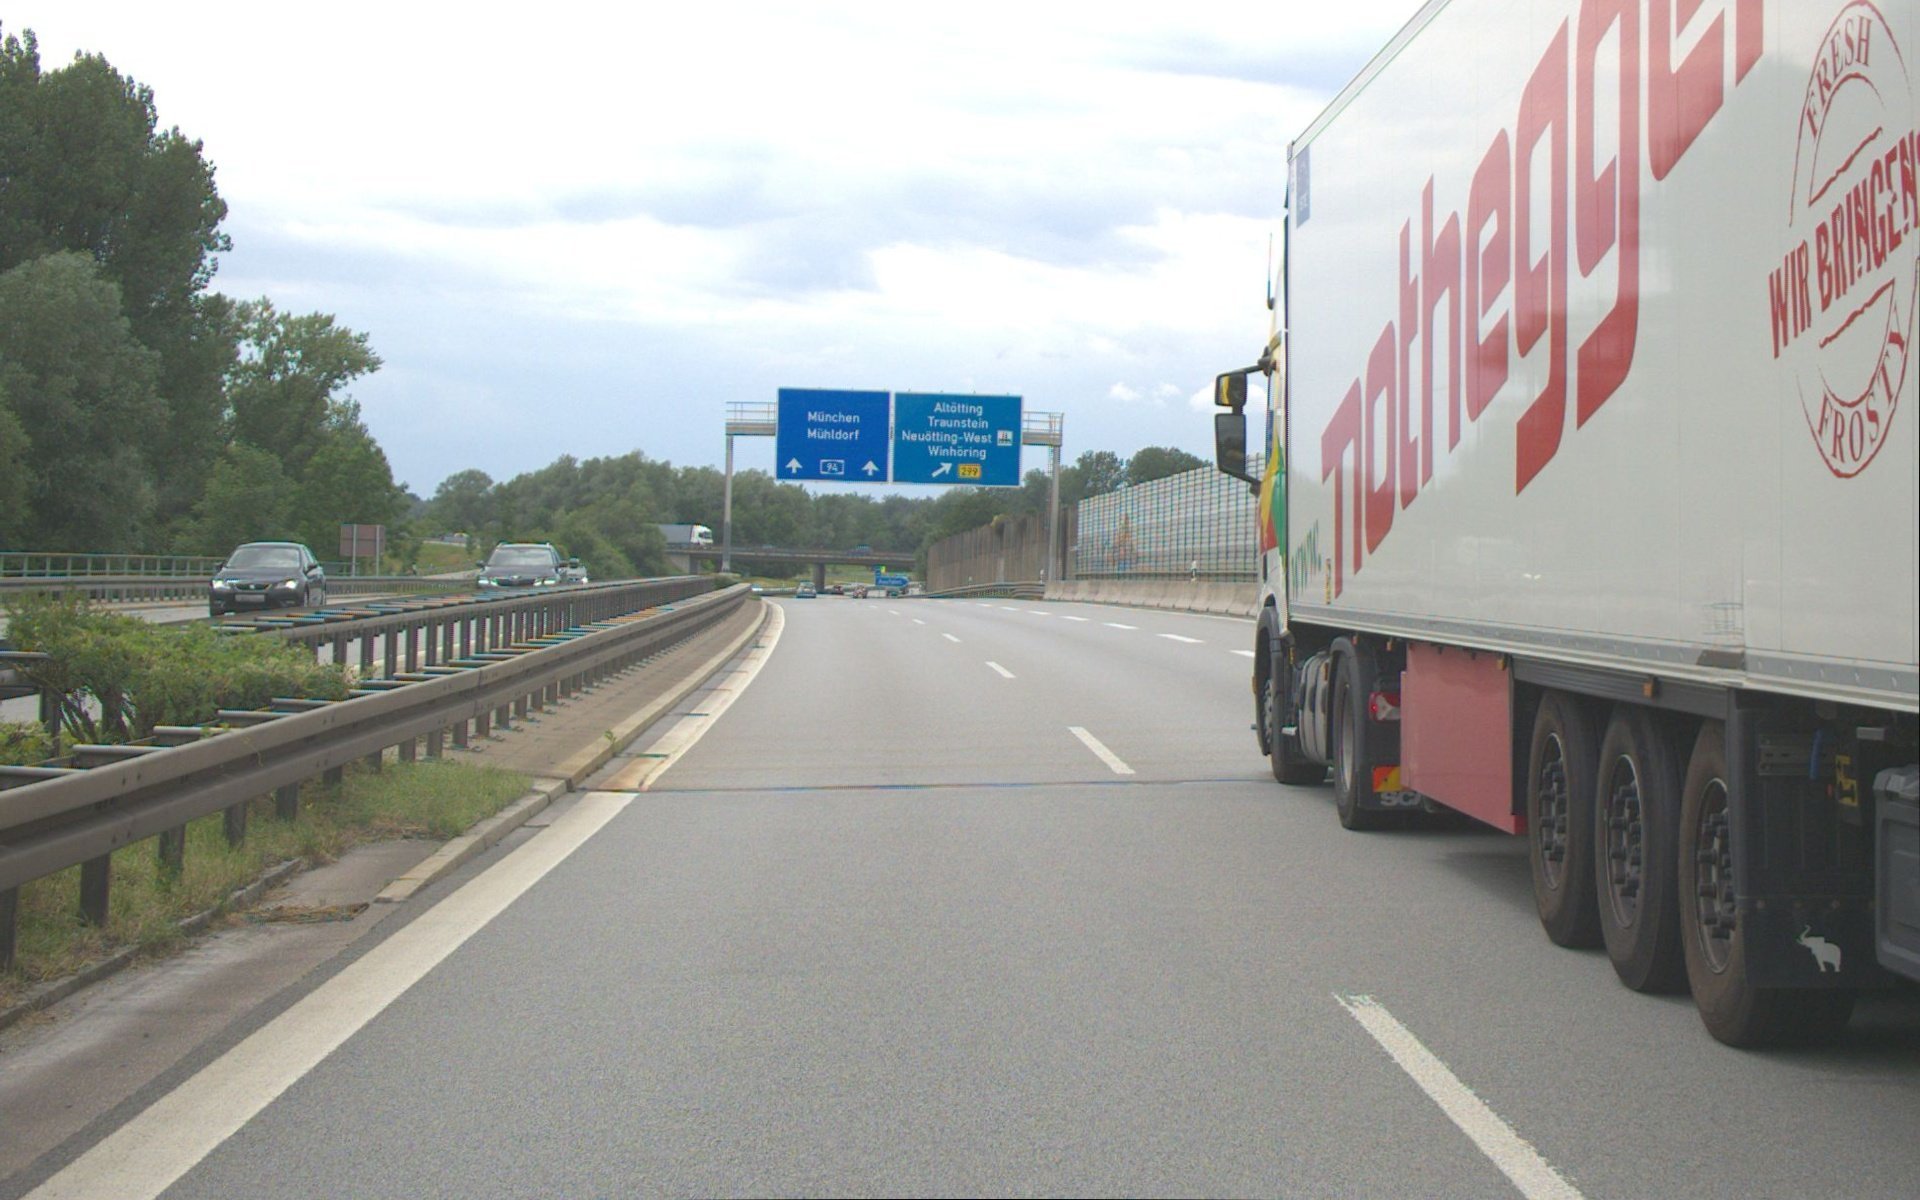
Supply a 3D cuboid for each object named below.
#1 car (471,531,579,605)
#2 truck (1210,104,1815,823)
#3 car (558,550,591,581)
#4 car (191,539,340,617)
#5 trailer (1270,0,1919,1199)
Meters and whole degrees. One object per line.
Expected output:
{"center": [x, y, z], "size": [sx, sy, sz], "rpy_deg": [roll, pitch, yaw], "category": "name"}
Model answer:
{"center": [-9.383, -0.713, 74.489], "size": [1.841, 1.525, 4.836], "rpy_deg": [0, 1, -2], "category": "car"}
{"center": [3.246, -0.792, 21.751], "size": [2.756, 3.946, 5.678], "rpy_deg": [0, 1, -2], "category": "truck"}
{"center": [-25.227, -2.246, 225.339], "size": [1.993, 1.996, 4.744], "rpy_deg": [1, 0, -5], "category": "car"}
{"center": [-13.134, -0.441, 65.267], "size": [1.970, 1.399, 4.710], "rpy_deg": [0, 1, -2], "category": "car"}
{"center": [3.420, -0.810, 14.286], "size": [2.792, 4.160, 14.104], "rpy_deg": [0, 1, -1], "category": "trailer"}
